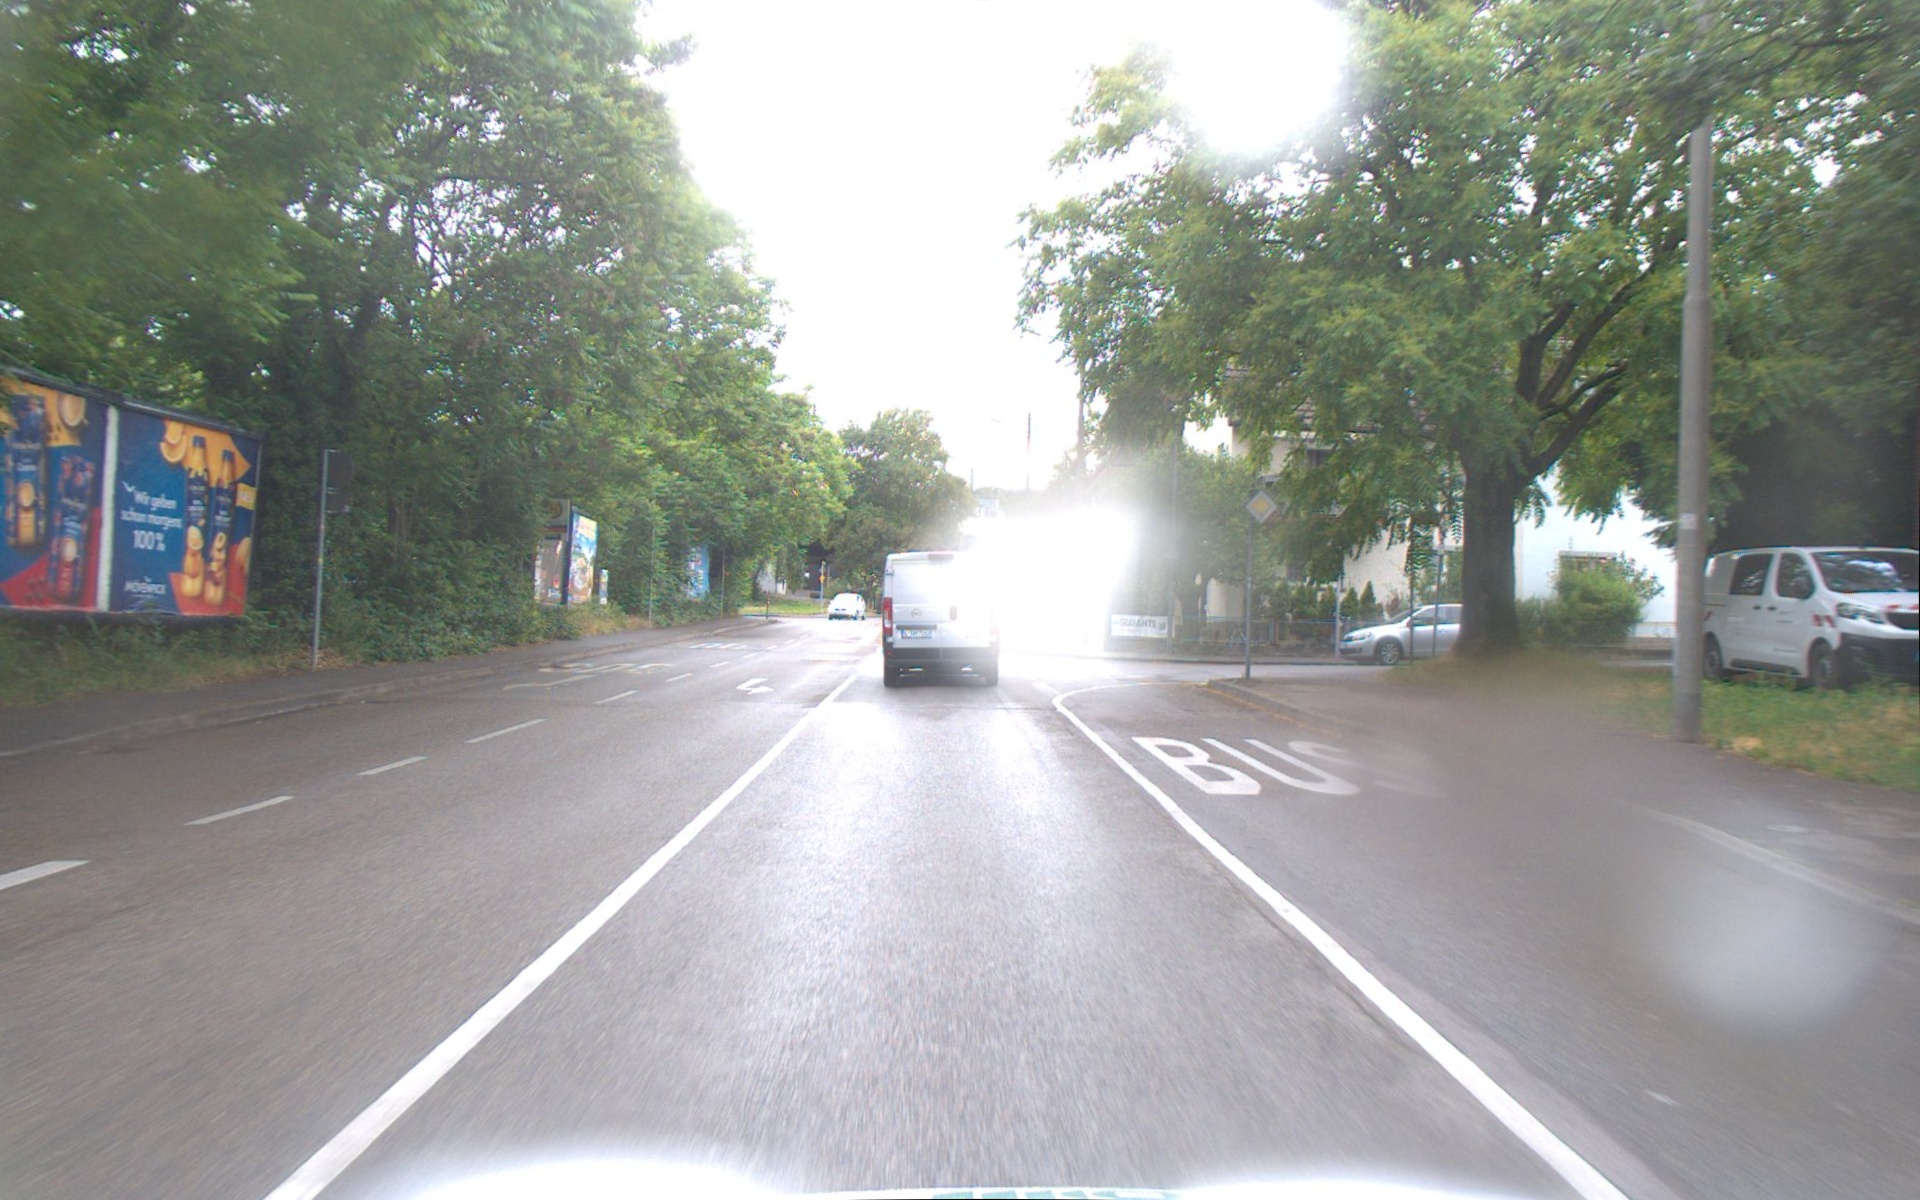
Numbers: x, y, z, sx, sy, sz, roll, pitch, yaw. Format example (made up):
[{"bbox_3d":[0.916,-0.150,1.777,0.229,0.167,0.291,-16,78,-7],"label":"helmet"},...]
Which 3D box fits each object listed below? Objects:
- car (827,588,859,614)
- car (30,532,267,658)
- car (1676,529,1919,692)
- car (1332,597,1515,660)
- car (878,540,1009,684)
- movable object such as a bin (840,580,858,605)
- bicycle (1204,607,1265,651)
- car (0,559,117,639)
[{"bbox_3d":[-6.567,0.029,93.270,1.620,1.441,3.934,0,1,-2],"label":"car"},{"bbox_3d":[-14.352,-0.110,29.229,3.917,1.971,1.994,3,0,33],"label":"car"},{"bbox_3d":[11.419,0.157,21.617,1.952,1.836,5.148,3,0,2],"label":"car"},{"bbox_3d":[11.121,0.699,39.825,3.908,1.448,1.702,0,-2,-4],"label":"car"},{"bbox_3d":[-0.395,0.224,30.018,2.103,2.323,5.059,2,-1,-3],"label":"car"},{"bbox_3d":[-7.734,-0.505,115.174,0.921,1.590,1.131,7,0,3],"label":"movable object such as a bin"},{"bbox_3d":[7.240,0.751,43.595,1.538,1.134,0.457,0,0,3],"label":"bicycle"},{"bbox_3d":[-19.039,-0.045,33.017,1.729,1.537,3.756,2,0,18],"label":"car"}]
